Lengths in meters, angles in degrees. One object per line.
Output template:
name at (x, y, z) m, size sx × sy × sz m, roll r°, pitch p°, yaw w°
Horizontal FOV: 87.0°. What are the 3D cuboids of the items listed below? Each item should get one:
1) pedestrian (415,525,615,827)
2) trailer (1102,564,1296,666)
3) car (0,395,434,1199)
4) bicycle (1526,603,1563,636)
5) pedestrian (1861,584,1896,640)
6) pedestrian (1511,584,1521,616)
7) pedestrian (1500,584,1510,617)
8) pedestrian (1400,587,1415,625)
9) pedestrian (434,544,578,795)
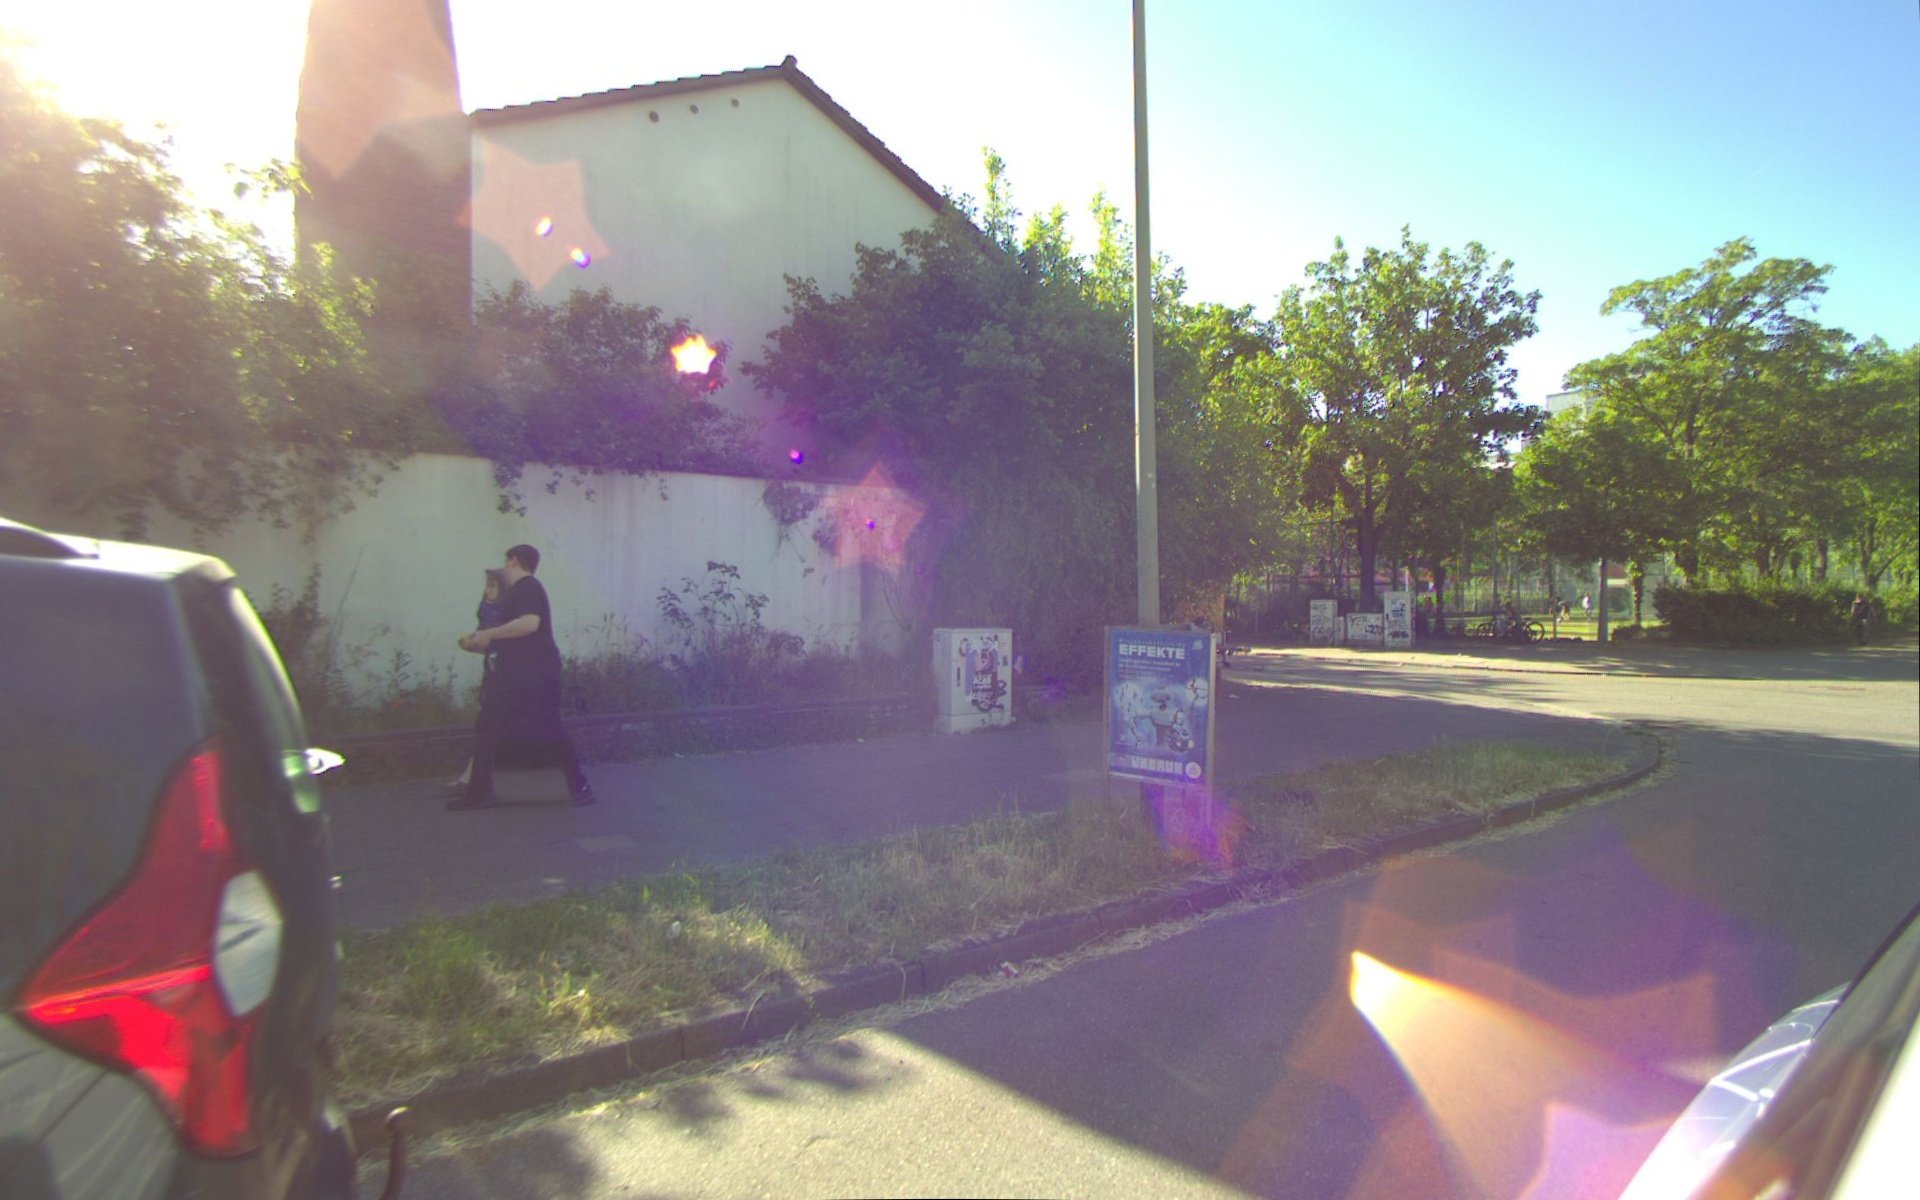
pedestrian at (-2.822, 0.416, 6.428) m, size 0.966 × 1.738 × 0.805 m, roll -1°, pitch 2°, yaw -40°
trailer at (5.457, 0.316, 23.525) m, size 1.941 × 2.146 × 4.073 m, roll 1°, pitch 0°, yaw -37°
car at (-2.860, 0.626, 0.626) m, size 4.272 × 1.677 × 1.729 m, roll 0°, pitch 0°, yaw -37°
bicycle at (17.348, 0.578, 30.051) m, size 0.891 × 0.970 × 0.294 m, roll 0°, pitch 0°, yaw 6°
pedestrian at (27.978, 0.360, 30.834) m, size 0.629 × 1.659 × 0.642 m, roll 0°, pitch 0°, yaw -34°
pedestrian at (27.580, 0.004, 50.208) m, size 0.395 × 1.555 × 0.317 m, roll 1°, pitch -1°, yaw -41°
pedestrian at (25.859, 0.035, 48.004) m, size 0.386 × 1.555 × 0.320 m, roll 1°, pitch -1°, yaw -41°
pedestrian at (18.235, 0.233, 41.269) m, size 0.422 × 1.555 × 0.436 m, roll 1°, pitch -1°, yaw -41°
pedestrian at (-3.156, 0.436, 7.045) m, size 0.779 × 1.629 × 0.574 m, roll -1°, pitch 2°, yaw -40°
